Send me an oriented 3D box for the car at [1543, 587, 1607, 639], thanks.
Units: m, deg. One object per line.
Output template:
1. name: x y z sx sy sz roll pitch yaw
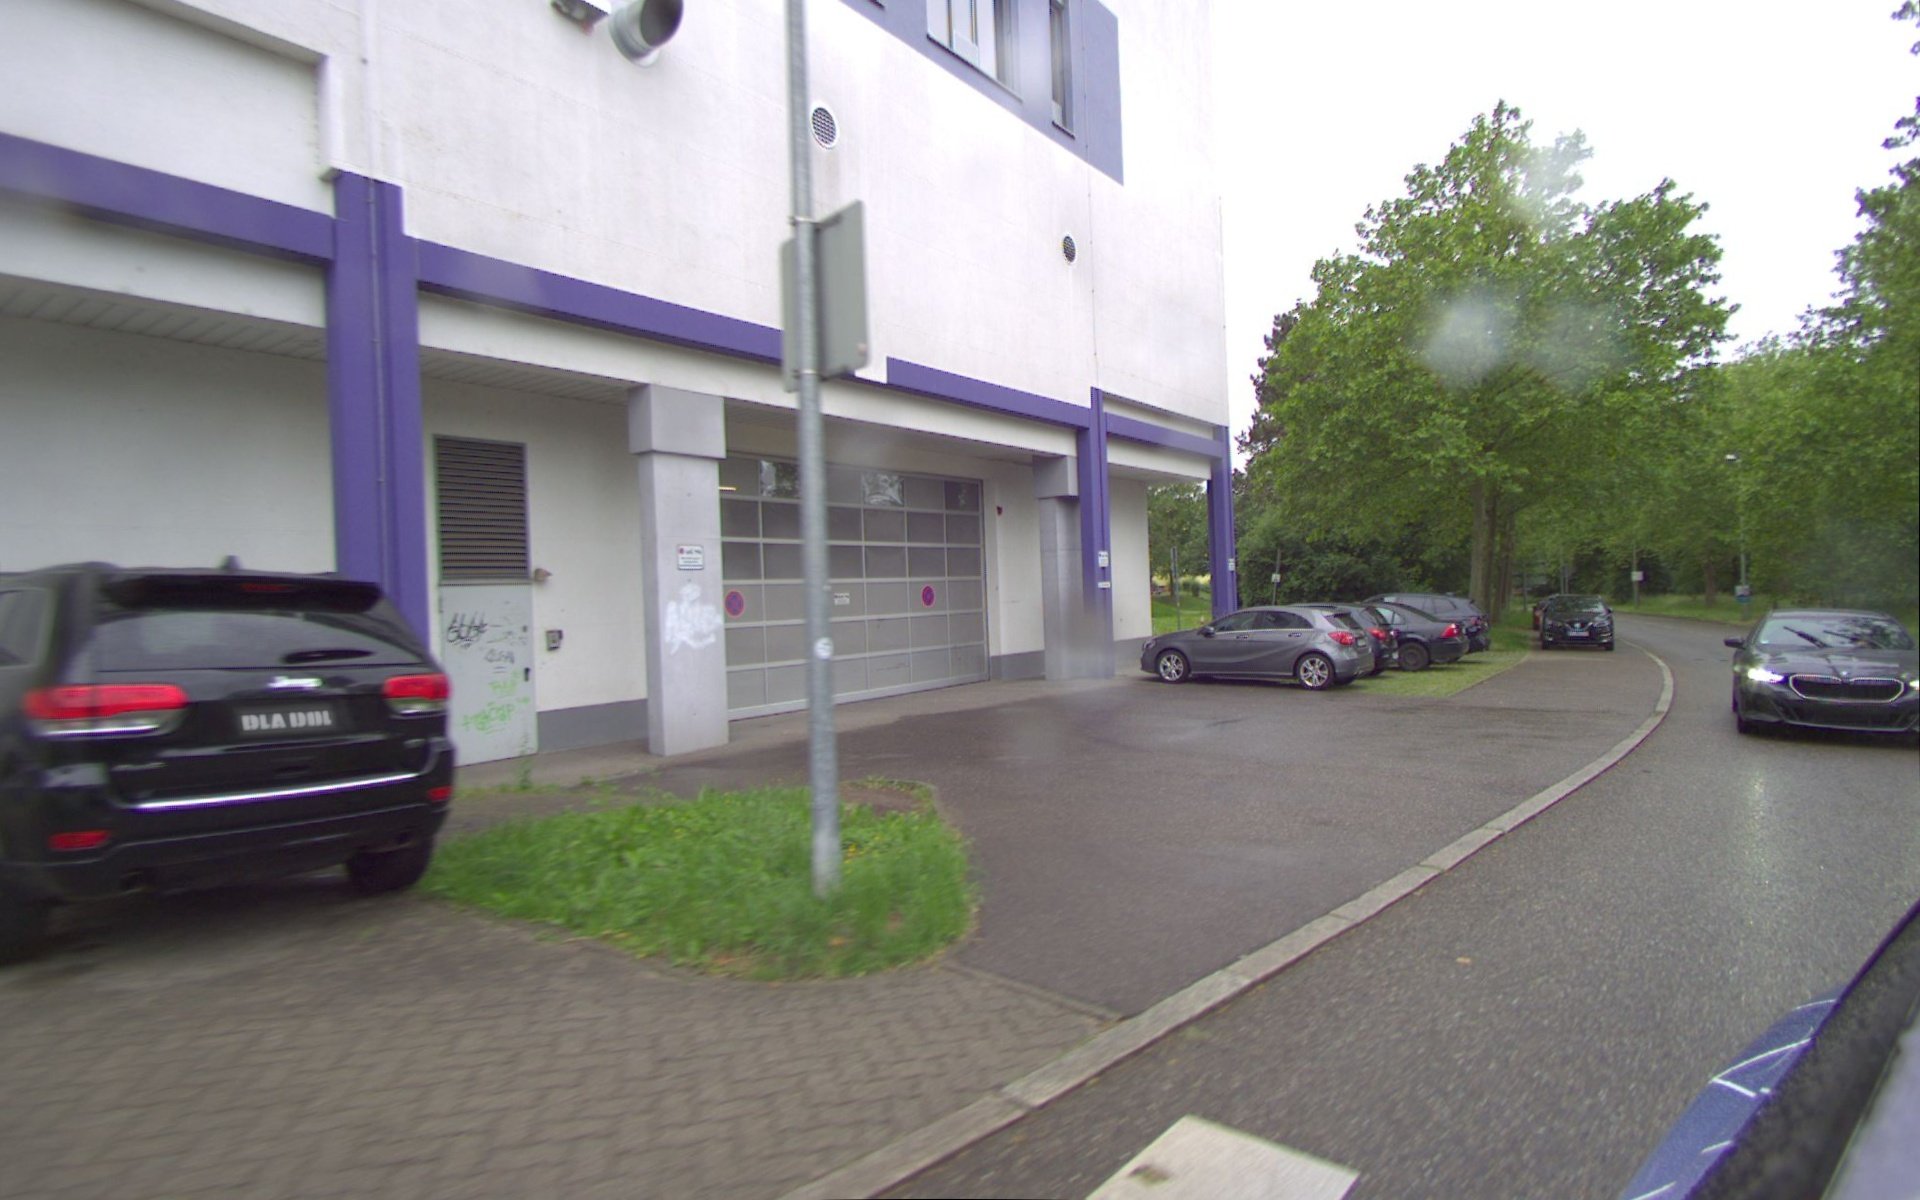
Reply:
1. car: 20.641 0.386 34.086 1.719 1.611 4.209 1 1 30

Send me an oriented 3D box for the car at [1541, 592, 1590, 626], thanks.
1. car: 27.040 0.369 45.287 1.787 1.389 3.705 0 1 30

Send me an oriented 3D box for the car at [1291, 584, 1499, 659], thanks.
1. car: 10.604 0.531 24.779 4.450 1.702 1.747 -1 -1 33

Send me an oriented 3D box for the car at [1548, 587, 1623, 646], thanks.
1. car: 18.666 0.440 30.332 1.792 1.622 4.324 0 1 31

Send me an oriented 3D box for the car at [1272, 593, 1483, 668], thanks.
1. car: 9.234 0.664 22.462 4.088 1.497 1.702 -1 1 32

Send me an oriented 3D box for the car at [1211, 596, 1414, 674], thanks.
1. car: 7.199 0.697 20.757 3.603 1.471 1.699 -1 -1 35

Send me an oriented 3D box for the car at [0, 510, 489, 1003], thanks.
1. car: -4.675 0.669 5.729 4.364 1.782 1.804 -3 -3 37

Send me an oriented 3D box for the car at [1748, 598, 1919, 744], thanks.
1. car: 11.104 0.737 12.660 1.836 1.513 4.831 0 0 39

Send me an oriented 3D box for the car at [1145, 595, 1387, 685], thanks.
1. car: 5.582 0.694 18.691 3.928 1.471 1.698 -1 0 38

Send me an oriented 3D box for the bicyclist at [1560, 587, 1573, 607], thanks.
1. bicyclist: 46.364 -0.216 77.398 0.690 1.516 0.794 -3 -1 22
